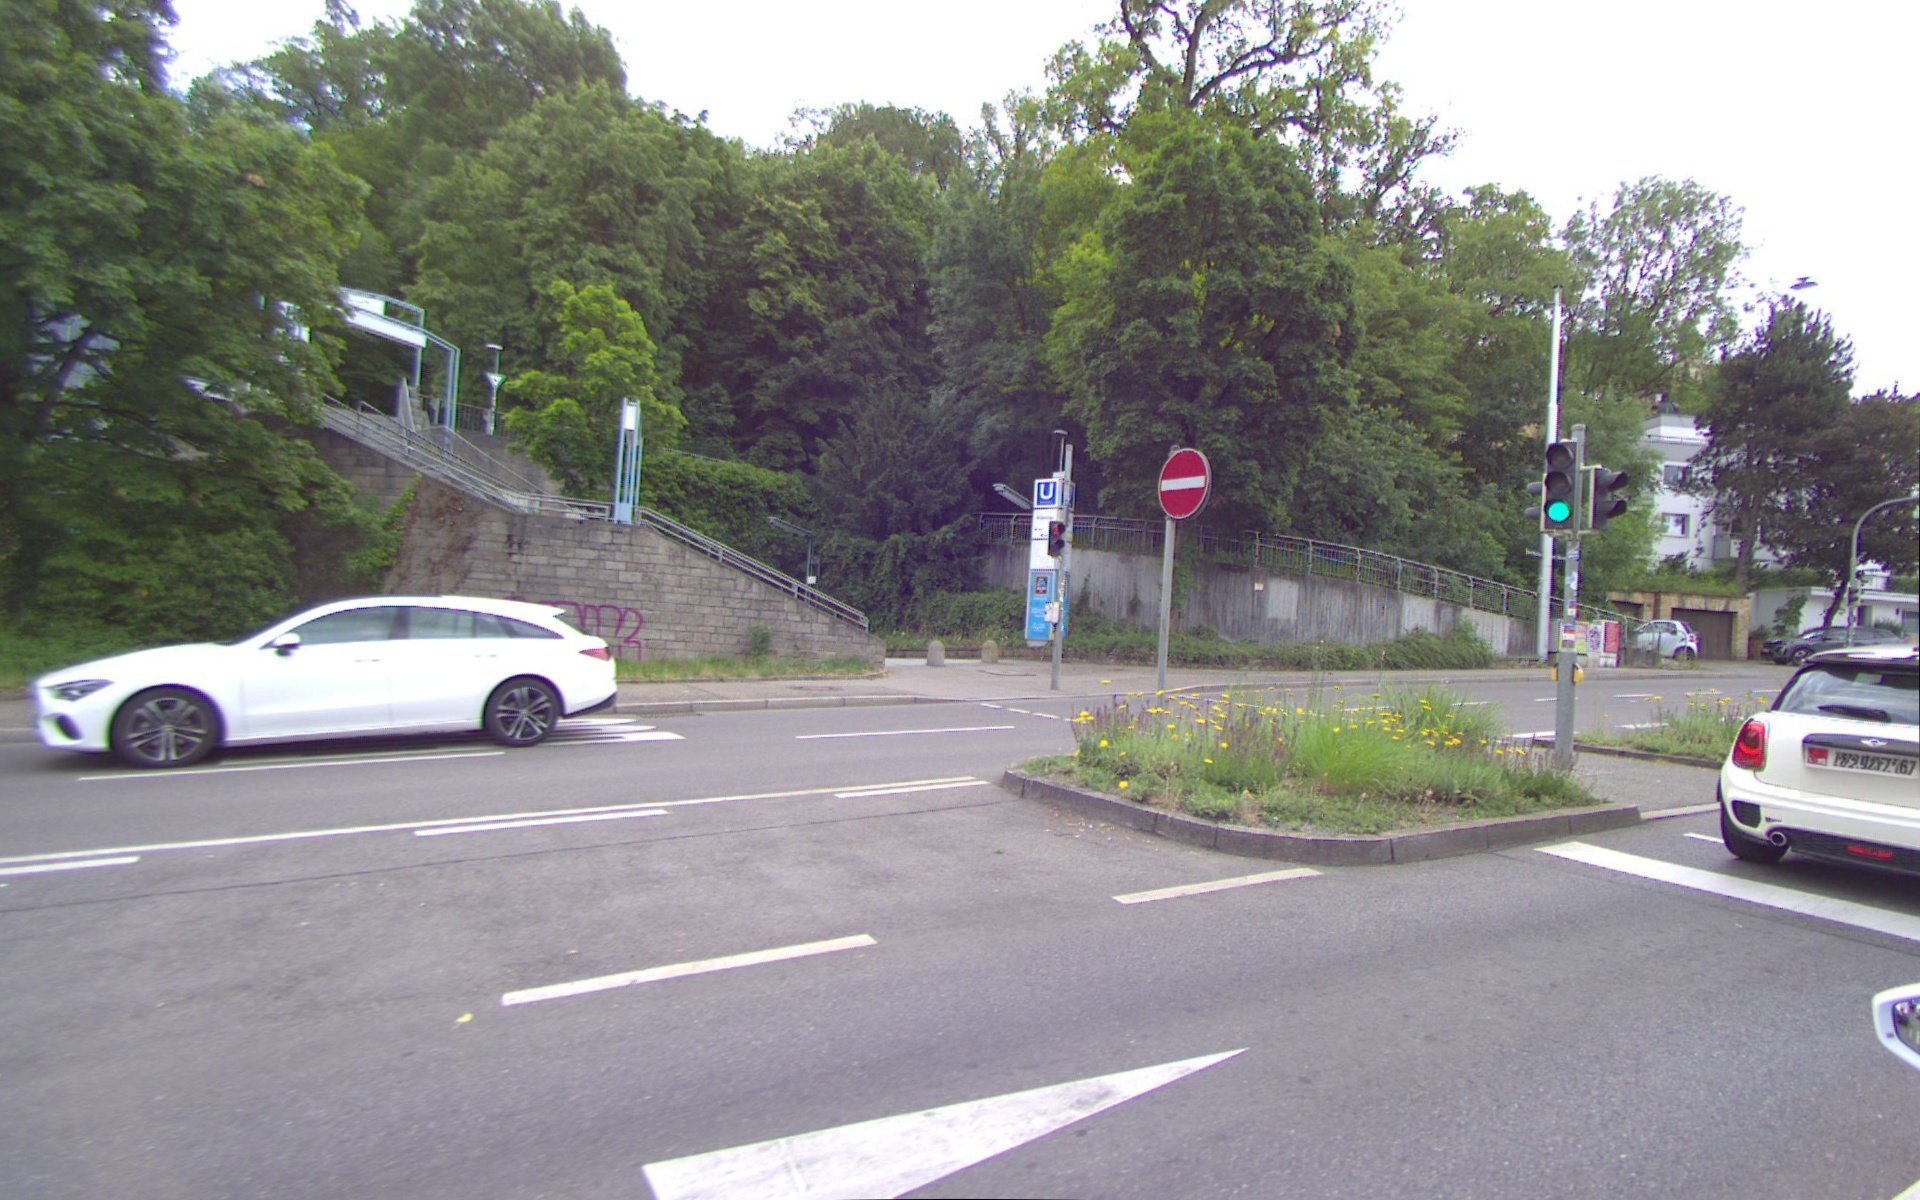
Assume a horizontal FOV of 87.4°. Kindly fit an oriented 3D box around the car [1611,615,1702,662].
[{"bbox_3d":[26.297,1.425,37.971,2.666,1.540,1.559,5,2,36],"label":"car"}]

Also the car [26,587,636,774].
[{"bbox_3d":[-5.654,0.664,9.608,4.564,1.412,1.706,2,-1,-36],"label":"car"}]

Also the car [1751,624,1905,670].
[{"bbox_3d":[32.542,1.733,37.792,4.050,1.560,1.599,1,-1,18],"label":"car"}]

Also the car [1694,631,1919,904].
[{"bbox_3d":[6.470,0.931,6.322,3.521,1.412,1.622,2,-1,-28],"label":"car"}]
